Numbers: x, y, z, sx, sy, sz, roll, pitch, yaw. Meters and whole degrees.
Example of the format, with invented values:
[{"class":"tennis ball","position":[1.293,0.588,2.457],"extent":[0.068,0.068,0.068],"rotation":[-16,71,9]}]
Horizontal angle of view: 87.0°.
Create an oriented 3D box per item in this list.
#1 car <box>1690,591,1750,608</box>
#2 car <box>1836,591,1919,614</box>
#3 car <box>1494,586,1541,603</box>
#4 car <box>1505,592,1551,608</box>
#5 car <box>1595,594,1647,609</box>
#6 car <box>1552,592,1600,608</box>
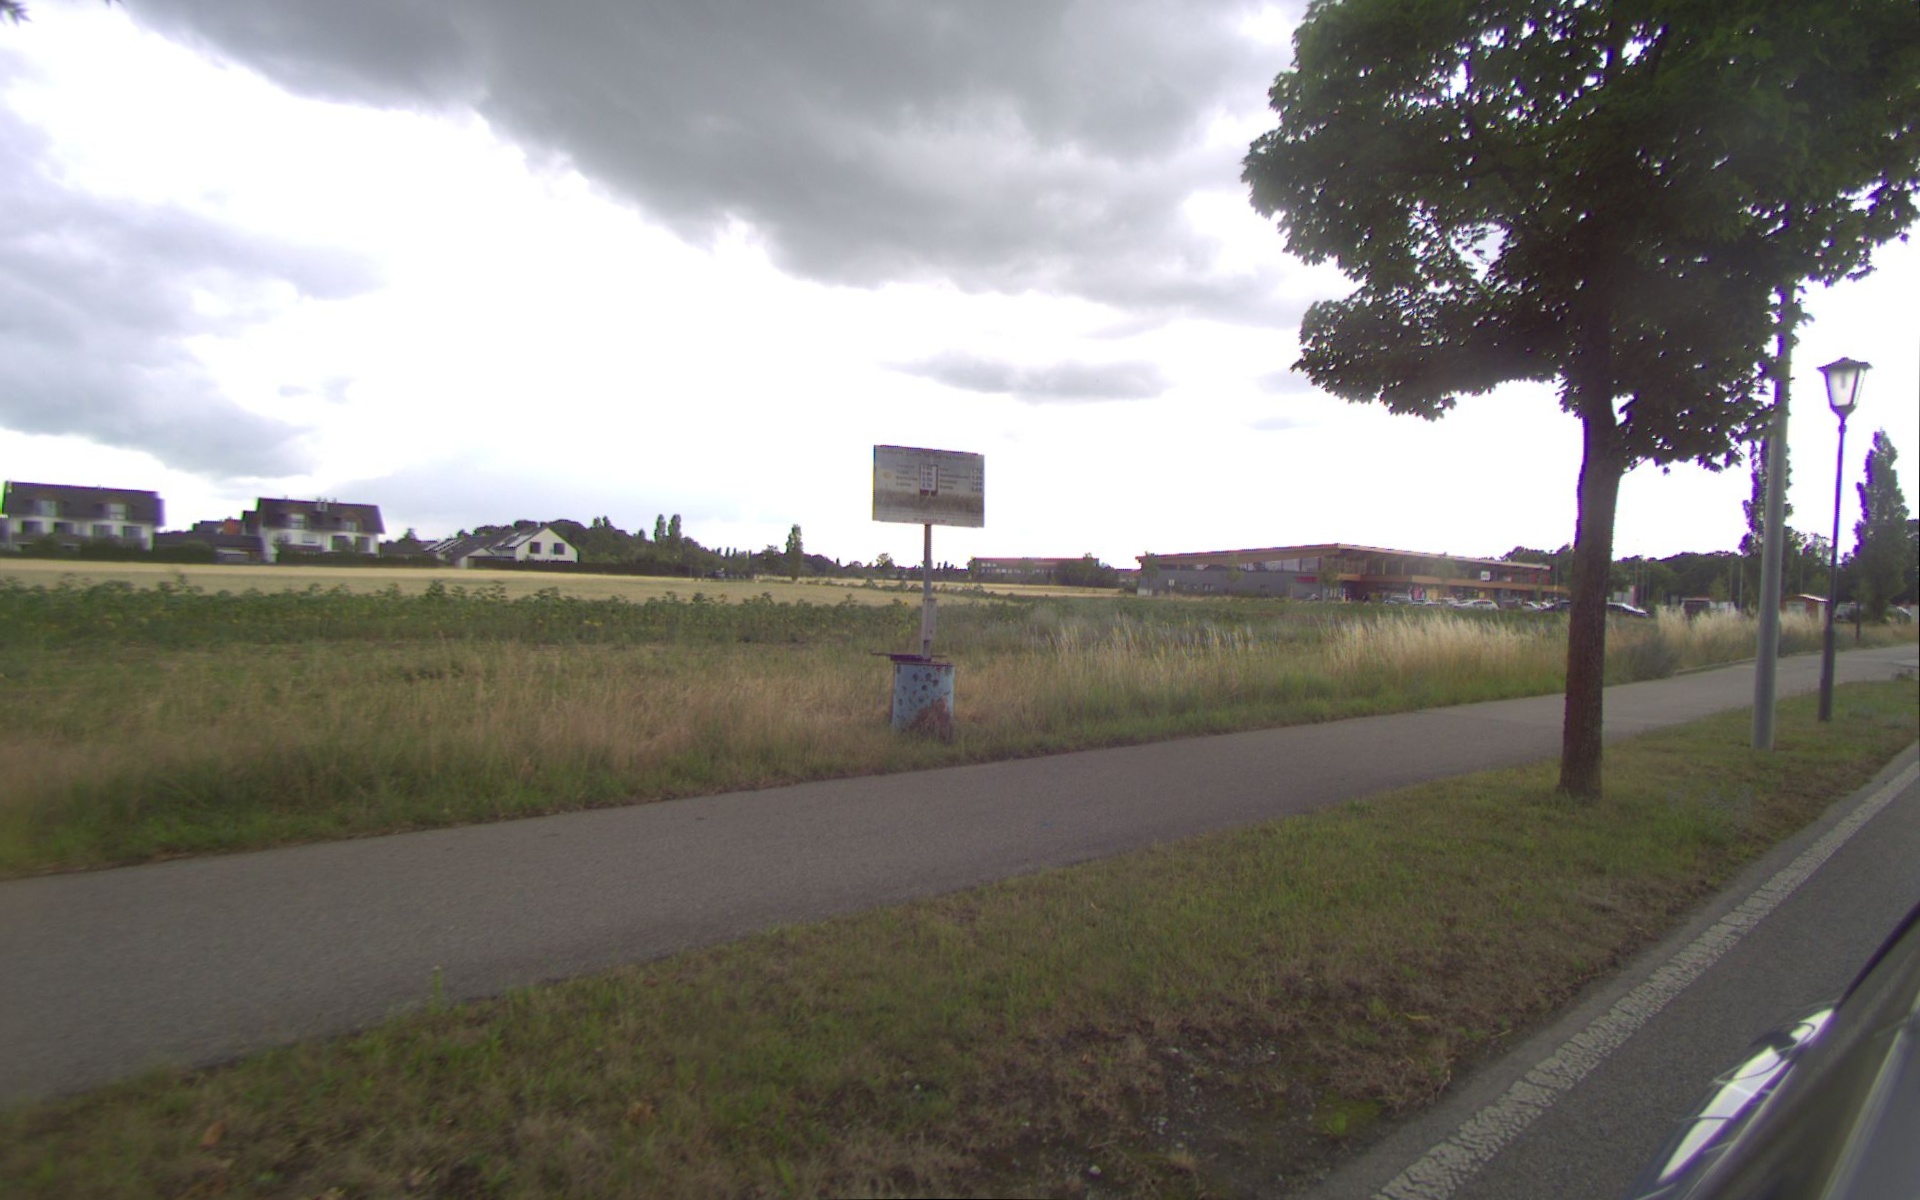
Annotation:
[{"class":"car","position":[91.075,-0.104,121.355],"extent":[1.968,2.039,5.512],"rotation":[0,0,-45]},{"class":"car","position":[83.896,0.166,92.605],"extent":[1.968,2.039,5.512],"rotation":[0,0,-45]},{"class":"car","position":[69.761,-0.726,126.698],"extent":[4.842,2.039,1.969],"rotation":[0,0,44]},{"class":"car","position":[73.859,-0.049,131.656],"extent":[4.842,2.039,1.969],"rotation":[0,0,44]},{"class":"car","position":[87.408,0.193,133.883],"extent":[1.968,2.039,5.512],"rotation":[0,0,-45]},{"class":"car","position":[75.677,-0.009,124.378],"extent":[4.842,2.039,1.969],"rotation":[0,0,44]}]
